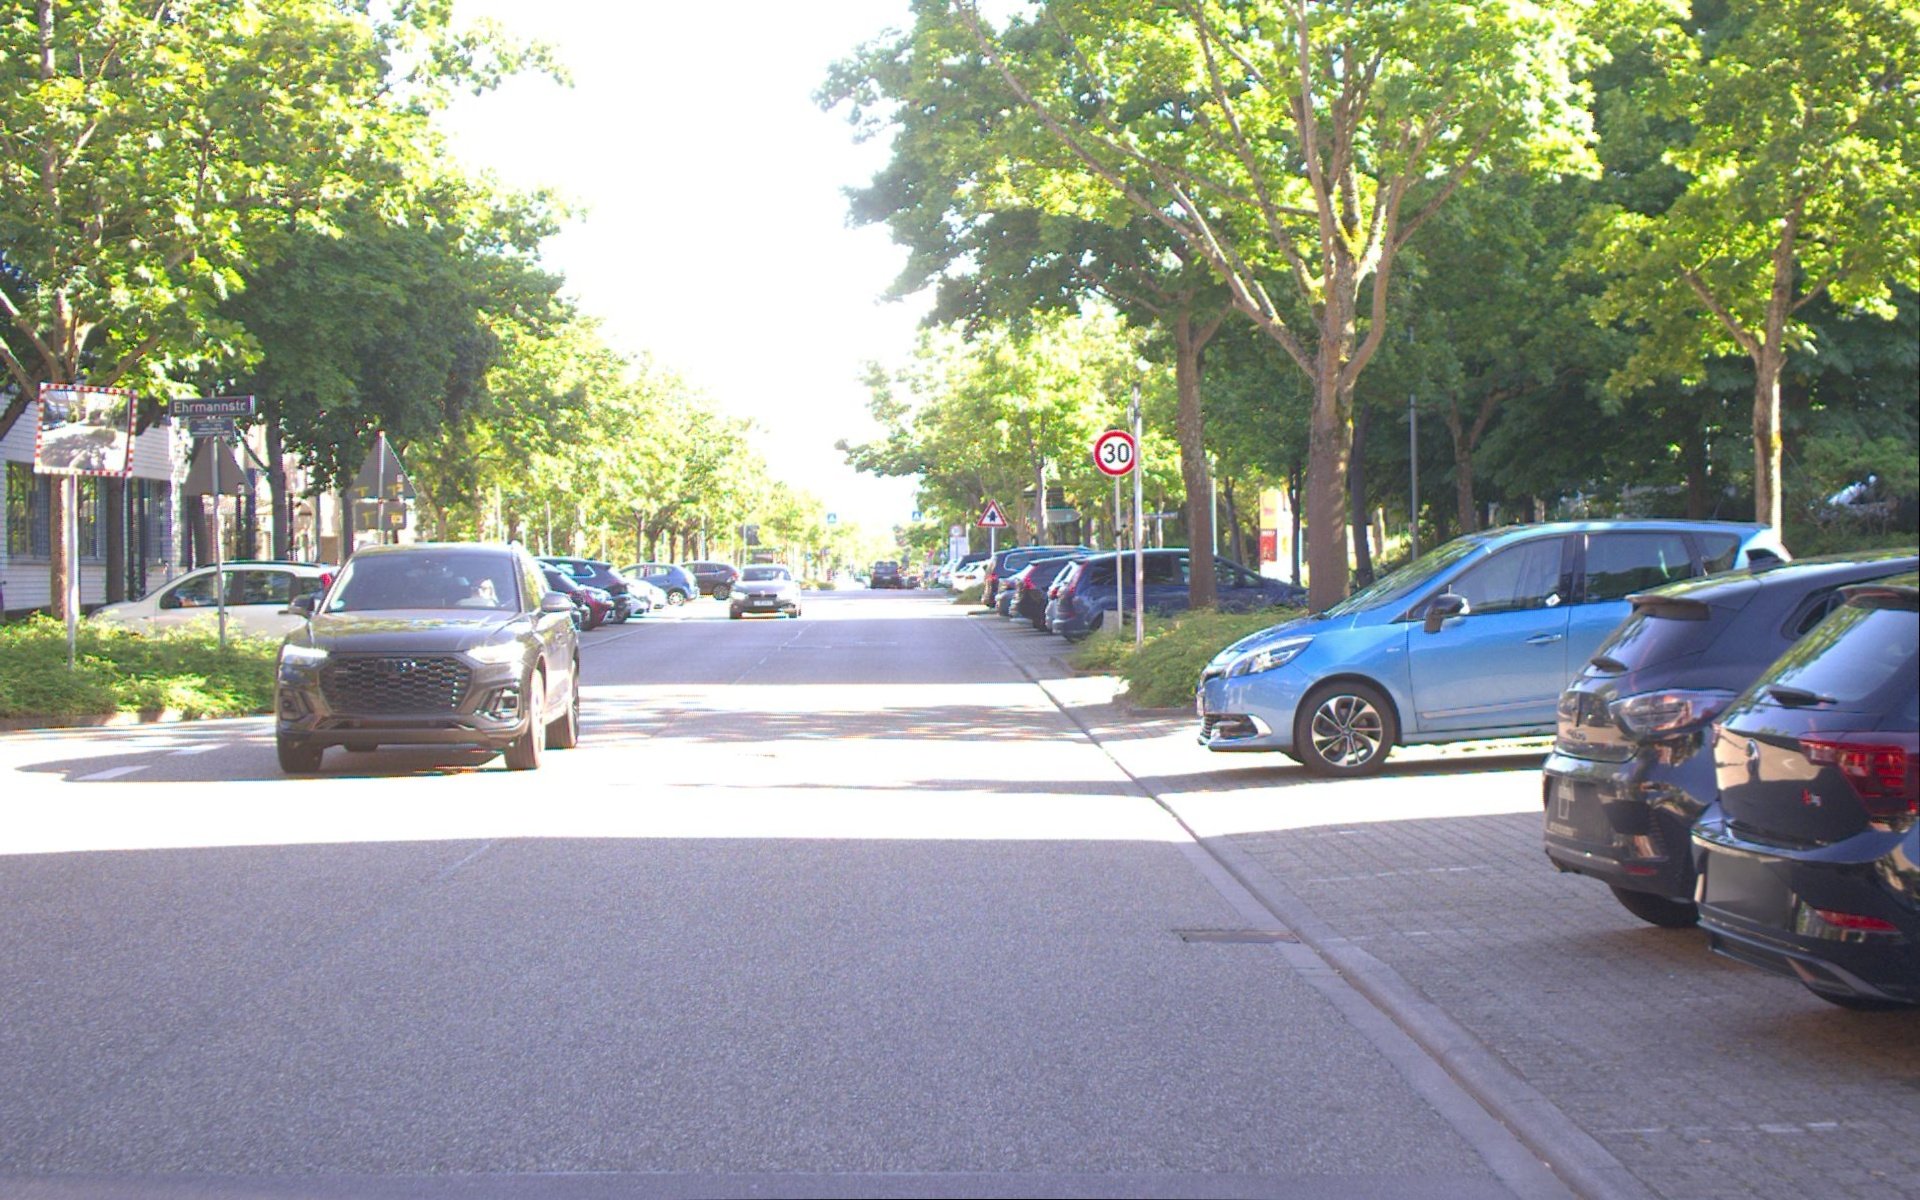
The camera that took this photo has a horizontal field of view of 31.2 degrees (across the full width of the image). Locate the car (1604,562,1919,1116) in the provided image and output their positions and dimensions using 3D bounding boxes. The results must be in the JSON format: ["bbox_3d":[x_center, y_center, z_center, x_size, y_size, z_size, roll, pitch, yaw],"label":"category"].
[{"bbox_3d":[4.036,0.550,10.168,3.799,1.403,1.702,-3,1,-6],"label":"car"}]

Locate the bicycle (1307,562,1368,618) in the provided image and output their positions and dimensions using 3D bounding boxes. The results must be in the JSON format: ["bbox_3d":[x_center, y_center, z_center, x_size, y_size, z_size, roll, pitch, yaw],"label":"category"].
[{"bbox_3d":[7.426,-0.206,67.678,0.379,1.074,1.788,-1,1,-22],"label":"bicycle"}]

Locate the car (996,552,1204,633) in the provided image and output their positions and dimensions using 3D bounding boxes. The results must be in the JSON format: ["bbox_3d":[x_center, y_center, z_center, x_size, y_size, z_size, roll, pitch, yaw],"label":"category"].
[{"bbox_3d":[2.851,-0.168,70.359,4.043,1.585,1.550,-1,1,-8],"label":"car"}]

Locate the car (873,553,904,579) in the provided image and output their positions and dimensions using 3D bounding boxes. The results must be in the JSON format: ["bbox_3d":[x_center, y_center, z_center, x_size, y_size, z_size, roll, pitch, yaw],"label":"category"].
[{"bbox_3d":[-4.565,-2.202,219.917,1.933,1.592,4.366,-1,1,-1],"label":"car"}]

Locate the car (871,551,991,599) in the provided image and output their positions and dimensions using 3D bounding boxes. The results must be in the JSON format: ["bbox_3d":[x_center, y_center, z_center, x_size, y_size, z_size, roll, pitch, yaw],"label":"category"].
[{"bbox_3d":[-1.009,-0.859,118.829,3.986,1.619,2.000,-1,1,-6],"label":"car"}]

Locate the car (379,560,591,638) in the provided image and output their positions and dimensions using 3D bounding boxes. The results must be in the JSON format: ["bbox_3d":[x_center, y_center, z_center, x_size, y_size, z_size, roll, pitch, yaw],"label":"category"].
[{"bbox_3d":[-9.211,-0.025,66.842,3.892,1.459,1.858,0,1,-2],"label":"car"}]

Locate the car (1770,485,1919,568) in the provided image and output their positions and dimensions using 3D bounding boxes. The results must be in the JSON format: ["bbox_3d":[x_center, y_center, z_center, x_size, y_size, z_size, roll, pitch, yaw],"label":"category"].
[{"bbox_3d":[20.604,-1.648,77.550,4.071,1.777,2.000,1,0,-5],"label":"car"}]

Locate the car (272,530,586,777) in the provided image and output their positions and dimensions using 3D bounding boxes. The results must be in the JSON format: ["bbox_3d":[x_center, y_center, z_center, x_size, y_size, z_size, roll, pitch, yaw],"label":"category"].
[{"bbox_3d":[-3.913,0.343,26.009,1.891,1.678,4.353,-1,1,-3],"label":"car"}]

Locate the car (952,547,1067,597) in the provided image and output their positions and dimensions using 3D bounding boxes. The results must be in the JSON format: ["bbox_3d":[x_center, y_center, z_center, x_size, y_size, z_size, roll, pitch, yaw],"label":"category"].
[{"bbox_3d":[1.808,-1.014,125.496,3.986,1.786,2.000,-1,1,-6],"label":"car"}]

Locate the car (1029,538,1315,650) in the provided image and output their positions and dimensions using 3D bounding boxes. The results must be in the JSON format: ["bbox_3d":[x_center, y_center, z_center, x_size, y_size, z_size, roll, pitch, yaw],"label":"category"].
[{"bbox_3d":[3.296,-0.105,53.990,4.267,1.628,1.858,-1,1,-3],"label":"car"}]

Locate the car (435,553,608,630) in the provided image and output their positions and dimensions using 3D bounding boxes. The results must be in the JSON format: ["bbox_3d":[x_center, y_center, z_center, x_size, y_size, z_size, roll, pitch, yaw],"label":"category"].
[{"bbox_3d":[-9.630,-0.184,75.650,3.541,1.651,1.761,0,0,1],"label":"car"}]

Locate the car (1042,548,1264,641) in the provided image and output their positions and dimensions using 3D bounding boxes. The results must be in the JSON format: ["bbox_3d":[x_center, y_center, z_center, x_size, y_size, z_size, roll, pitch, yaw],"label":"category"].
[{"bbox_3d":[3.306,-0.100,59.414,3.635,1.462,1.633,-2,1,-3],"label":"car"}]

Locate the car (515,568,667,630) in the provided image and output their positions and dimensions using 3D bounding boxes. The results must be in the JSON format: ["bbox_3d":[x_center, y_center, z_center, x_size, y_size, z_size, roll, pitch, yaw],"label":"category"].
[{"bbox_3d":[-9.825,-0.032,91.828,3.892,1.606,1.858,0,1,-2],"label":"car"}]

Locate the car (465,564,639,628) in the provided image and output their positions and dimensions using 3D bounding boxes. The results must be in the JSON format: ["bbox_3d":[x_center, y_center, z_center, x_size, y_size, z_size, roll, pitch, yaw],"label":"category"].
[{"bbox_3d":[-9.558,-0.111,80.785,3.892,1.459,1.858,0,1,-2],"label":"car"}]

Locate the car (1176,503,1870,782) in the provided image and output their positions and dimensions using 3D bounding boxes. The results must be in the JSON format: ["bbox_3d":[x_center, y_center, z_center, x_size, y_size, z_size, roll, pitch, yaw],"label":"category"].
[{"bbox_3d":[3.826,0.269,23.917,4.405,1.613,1.912,-3,1,-1],"label":"car"}]

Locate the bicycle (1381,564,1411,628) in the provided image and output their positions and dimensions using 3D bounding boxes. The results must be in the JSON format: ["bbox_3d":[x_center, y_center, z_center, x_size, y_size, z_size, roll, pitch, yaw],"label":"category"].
[{"bbox_3d":[7.393,-0.071,58.335,0.379,1.043,1.884,-2,1,4],"label":"bicycle"}]

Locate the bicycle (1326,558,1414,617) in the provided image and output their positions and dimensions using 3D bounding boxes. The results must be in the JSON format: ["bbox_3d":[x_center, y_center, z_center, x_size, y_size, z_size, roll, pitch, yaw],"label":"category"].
[{"bbox_3d":[7.575,-0.227,63.578,0.379,1.074,1.786,-1,1,-42],"label":"bicycle"}]

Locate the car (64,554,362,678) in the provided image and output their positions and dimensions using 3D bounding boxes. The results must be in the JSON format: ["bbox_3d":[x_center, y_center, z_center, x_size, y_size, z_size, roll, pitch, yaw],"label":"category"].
[{"bbox_3d":[-9.694,0.223,44.783,3.580,1.544,1.637,0,-2,-3],"label":"car"}]

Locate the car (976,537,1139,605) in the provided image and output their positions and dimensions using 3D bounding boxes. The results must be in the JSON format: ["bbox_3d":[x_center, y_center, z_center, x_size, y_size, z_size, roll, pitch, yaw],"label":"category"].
[{"bbox_3d":[2.409,-0.727,85.338,3.892,1.650,1.858,0,1,-3],"label":"car"}]

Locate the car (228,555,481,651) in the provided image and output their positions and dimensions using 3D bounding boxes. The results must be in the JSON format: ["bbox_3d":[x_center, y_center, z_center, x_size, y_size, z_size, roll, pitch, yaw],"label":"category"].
[{"bbox_3d":[-9.553,0.038,54.428,3.732,1.459,1.677,0,1,-2],"label":"car"}]

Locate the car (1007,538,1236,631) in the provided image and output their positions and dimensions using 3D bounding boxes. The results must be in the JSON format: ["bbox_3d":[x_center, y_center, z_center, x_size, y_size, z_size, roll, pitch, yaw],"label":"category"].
[{"bbox_3d":[3.108,-0.300,65.795,4.249,1.549,1.920,-3,1,4],"label":"car"}]

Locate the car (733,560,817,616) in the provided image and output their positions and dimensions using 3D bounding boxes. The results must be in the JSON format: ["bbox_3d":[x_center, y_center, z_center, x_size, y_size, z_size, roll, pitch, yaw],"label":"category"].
[{"bbox_3d":[-4.863,-0.338,90.849,1.813,1.410,4.107,0,1,3],"label":"car"}]

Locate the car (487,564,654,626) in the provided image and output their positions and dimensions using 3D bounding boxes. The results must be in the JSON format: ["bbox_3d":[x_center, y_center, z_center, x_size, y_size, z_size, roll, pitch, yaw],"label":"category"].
[{"bbox_3d":[-9.478,-0.128,83.937,3.892,1.459,1.858,0,1,-2],"label":"car"}]

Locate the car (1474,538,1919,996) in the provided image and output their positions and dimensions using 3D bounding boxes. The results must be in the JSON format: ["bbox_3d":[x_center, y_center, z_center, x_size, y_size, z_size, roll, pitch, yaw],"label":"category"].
[{"bbox_3d":[4.024,0.506,12.803,3.846,1.478,1.825,-3,1,-1],"label":"car"}]

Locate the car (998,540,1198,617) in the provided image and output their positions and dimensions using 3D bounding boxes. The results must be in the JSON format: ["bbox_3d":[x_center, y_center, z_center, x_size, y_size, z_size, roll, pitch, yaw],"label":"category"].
[{"bbox_3d":[2.930,-0.456,73.236,4.043,1.486,1.550,-2,0,-5],"label":"car"}]

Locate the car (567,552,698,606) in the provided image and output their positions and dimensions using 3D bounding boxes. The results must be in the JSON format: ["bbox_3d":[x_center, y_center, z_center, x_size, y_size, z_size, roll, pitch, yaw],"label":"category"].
[{"bbox_3d":[-10.560,-0.696,111.111,3.987,1.648,1.860,-1,1,2],"label":"car"}]
